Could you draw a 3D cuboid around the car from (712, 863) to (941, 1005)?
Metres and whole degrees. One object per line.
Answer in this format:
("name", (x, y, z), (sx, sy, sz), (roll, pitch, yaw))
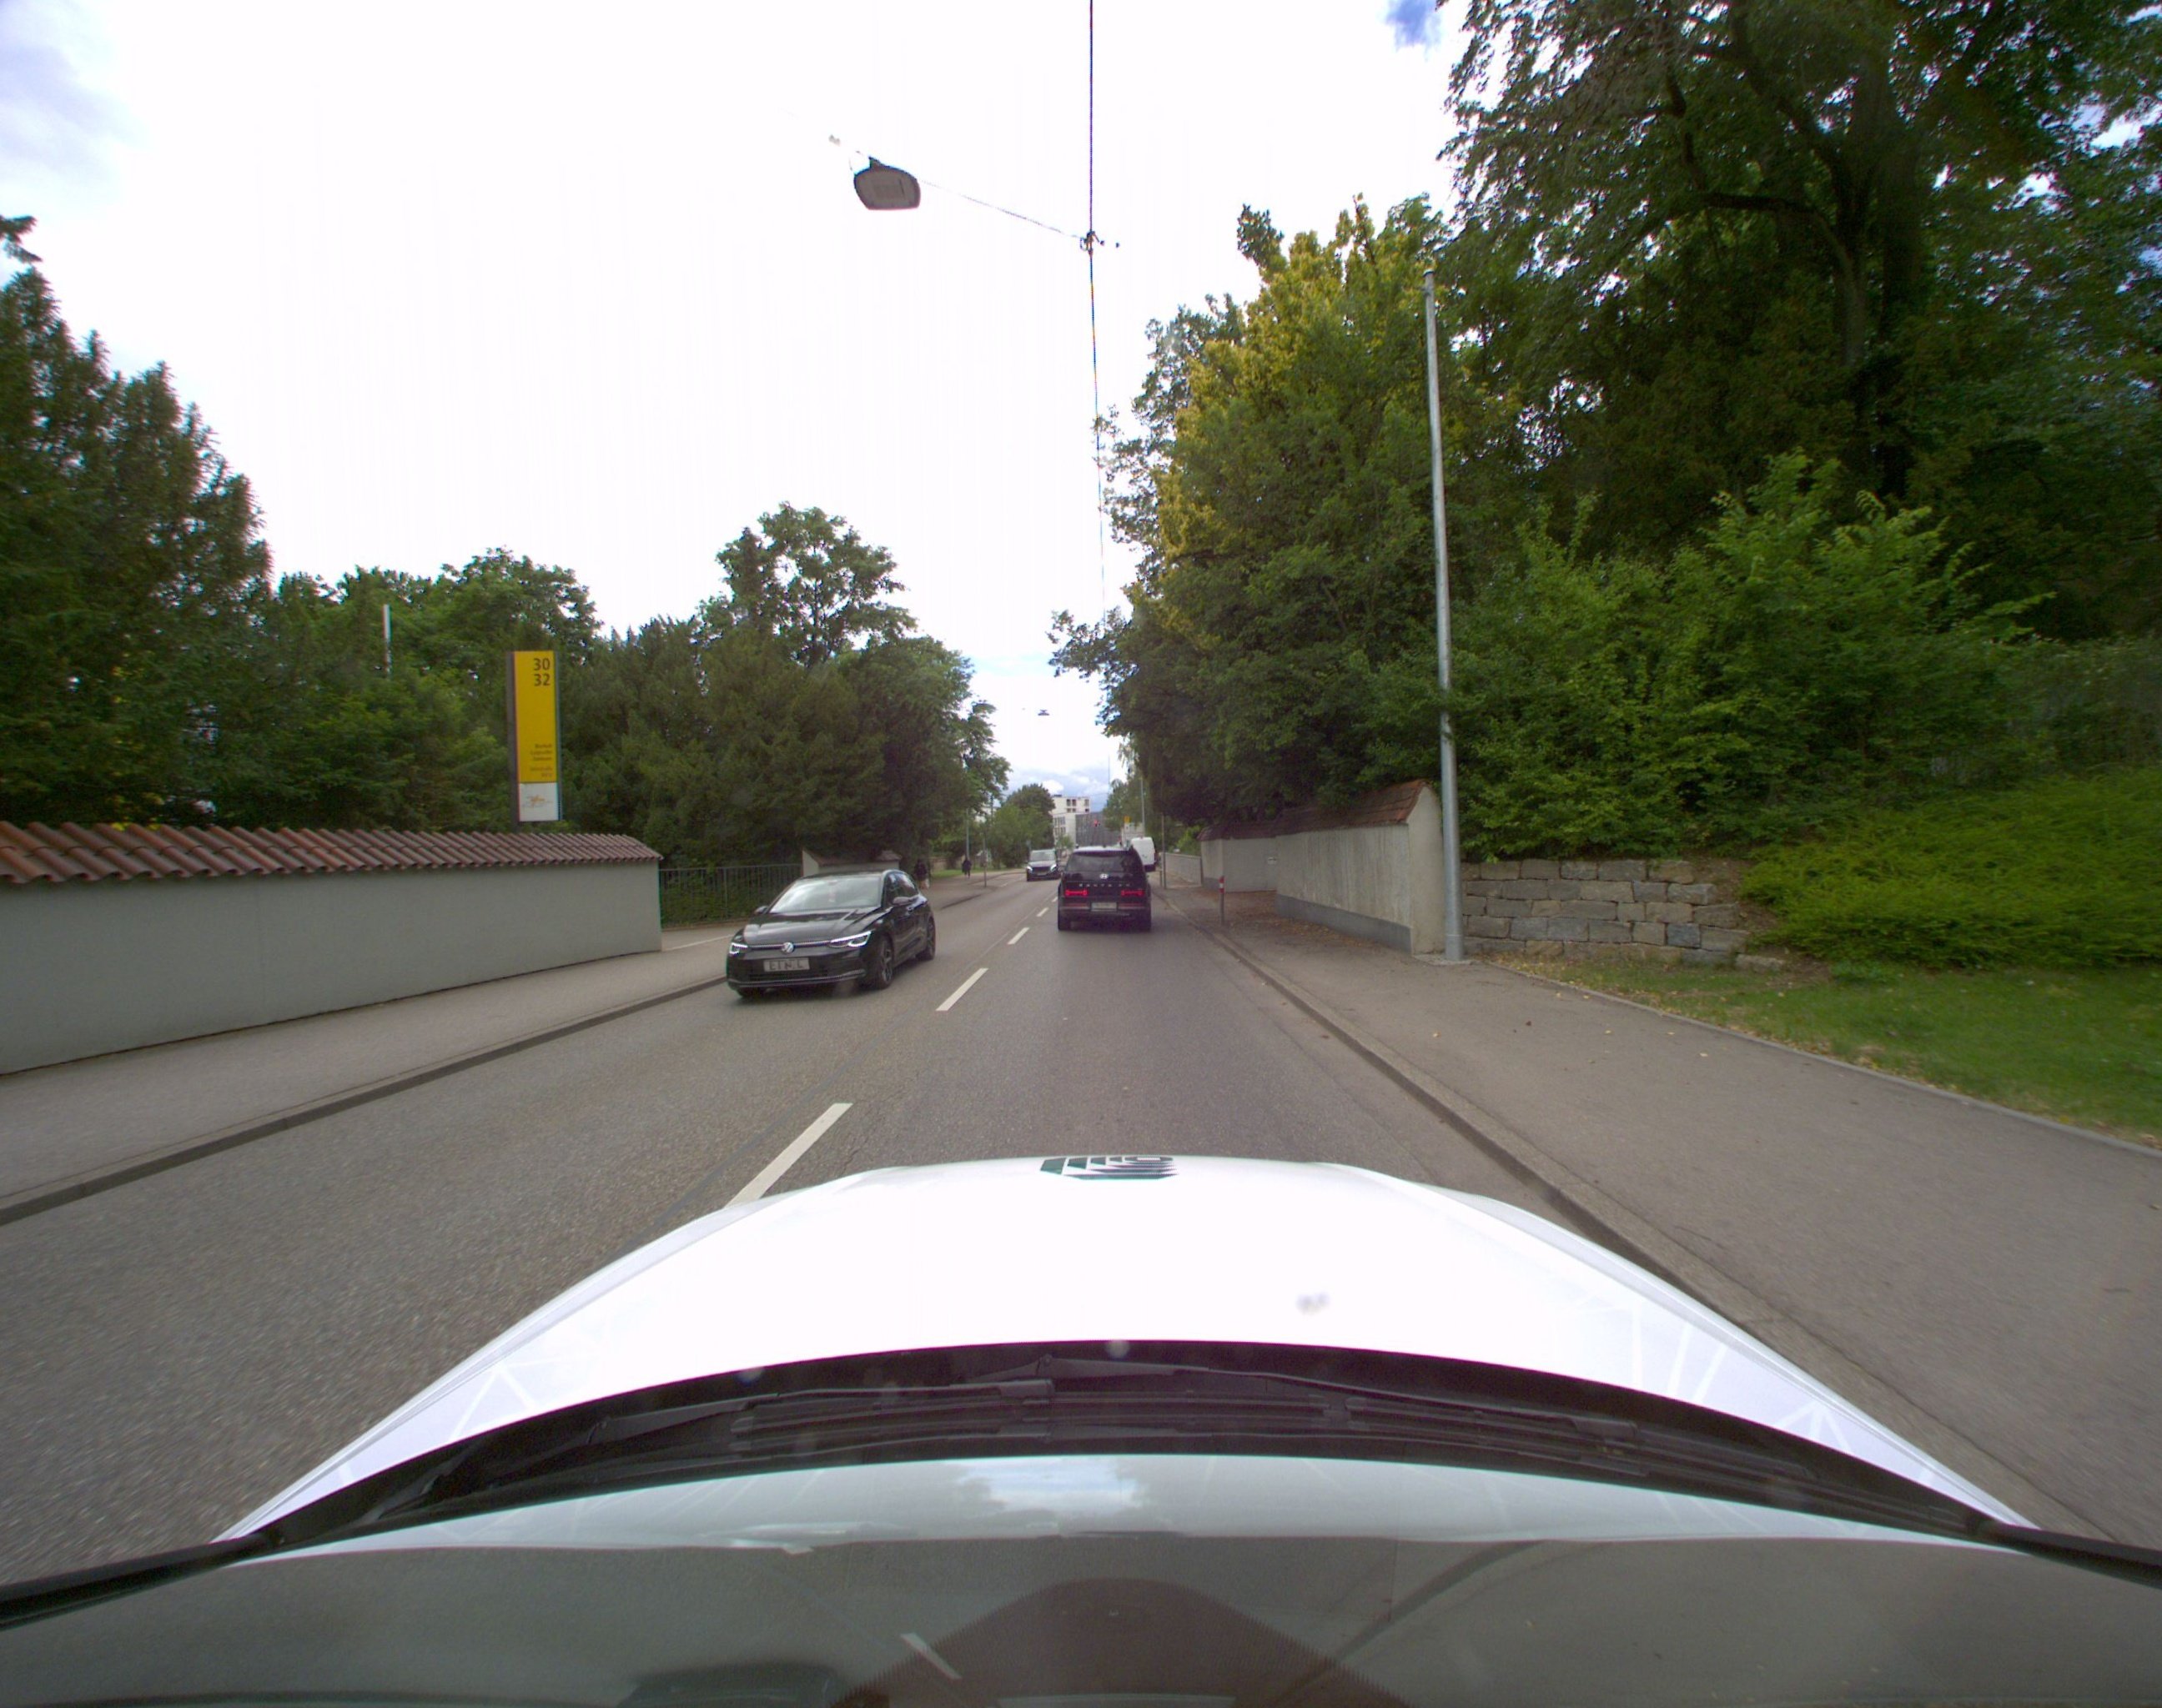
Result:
("car", (-3.124, 0.898, 10.903), (1.780, 1.428, 3.998), (-3, 0, -1))

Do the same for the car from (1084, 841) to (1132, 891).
("car", (1.129, 0.496, 34.963), (1.957, 2.001, 4.001), (-1, 0, 1))

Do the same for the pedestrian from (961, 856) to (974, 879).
("pedestrian", (-7.765, 0.924, 55.633), (0.746, 1.578, 0.967), (0, 0, 1))

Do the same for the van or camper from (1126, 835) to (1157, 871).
("van or camper", (4.758, -0.085, 65.072), (1.957, 2.627, 6.359), (-4, 0, 1))

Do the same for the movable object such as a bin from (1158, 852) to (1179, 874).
("movable object such as a bin", (6.011, 0.596, 56.170), (1.295, 1.450, 1.181), (-2, -1, 1))

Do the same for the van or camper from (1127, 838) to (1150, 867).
("van or camper", (5.907, -0.136, 83.888), (1.957, 2.797, 5.287), (-3, 0, 1))

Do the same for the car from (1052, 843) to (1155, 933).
("car", (0.493, 0.656, 17.579), (1.956, 1.711, 4.002), (0, 0, 2))

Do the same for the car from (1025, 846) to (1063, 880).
("car", (-2.215, 0.531, 50.064), (1.884, 1.855, 5.083), (-5, 0, 1))

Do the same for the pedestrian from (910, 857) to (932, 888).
("pedestrian", (-8.078, 0.935, 41.132), (0.923, 1.560, 0.901), (1, -2, -3))
